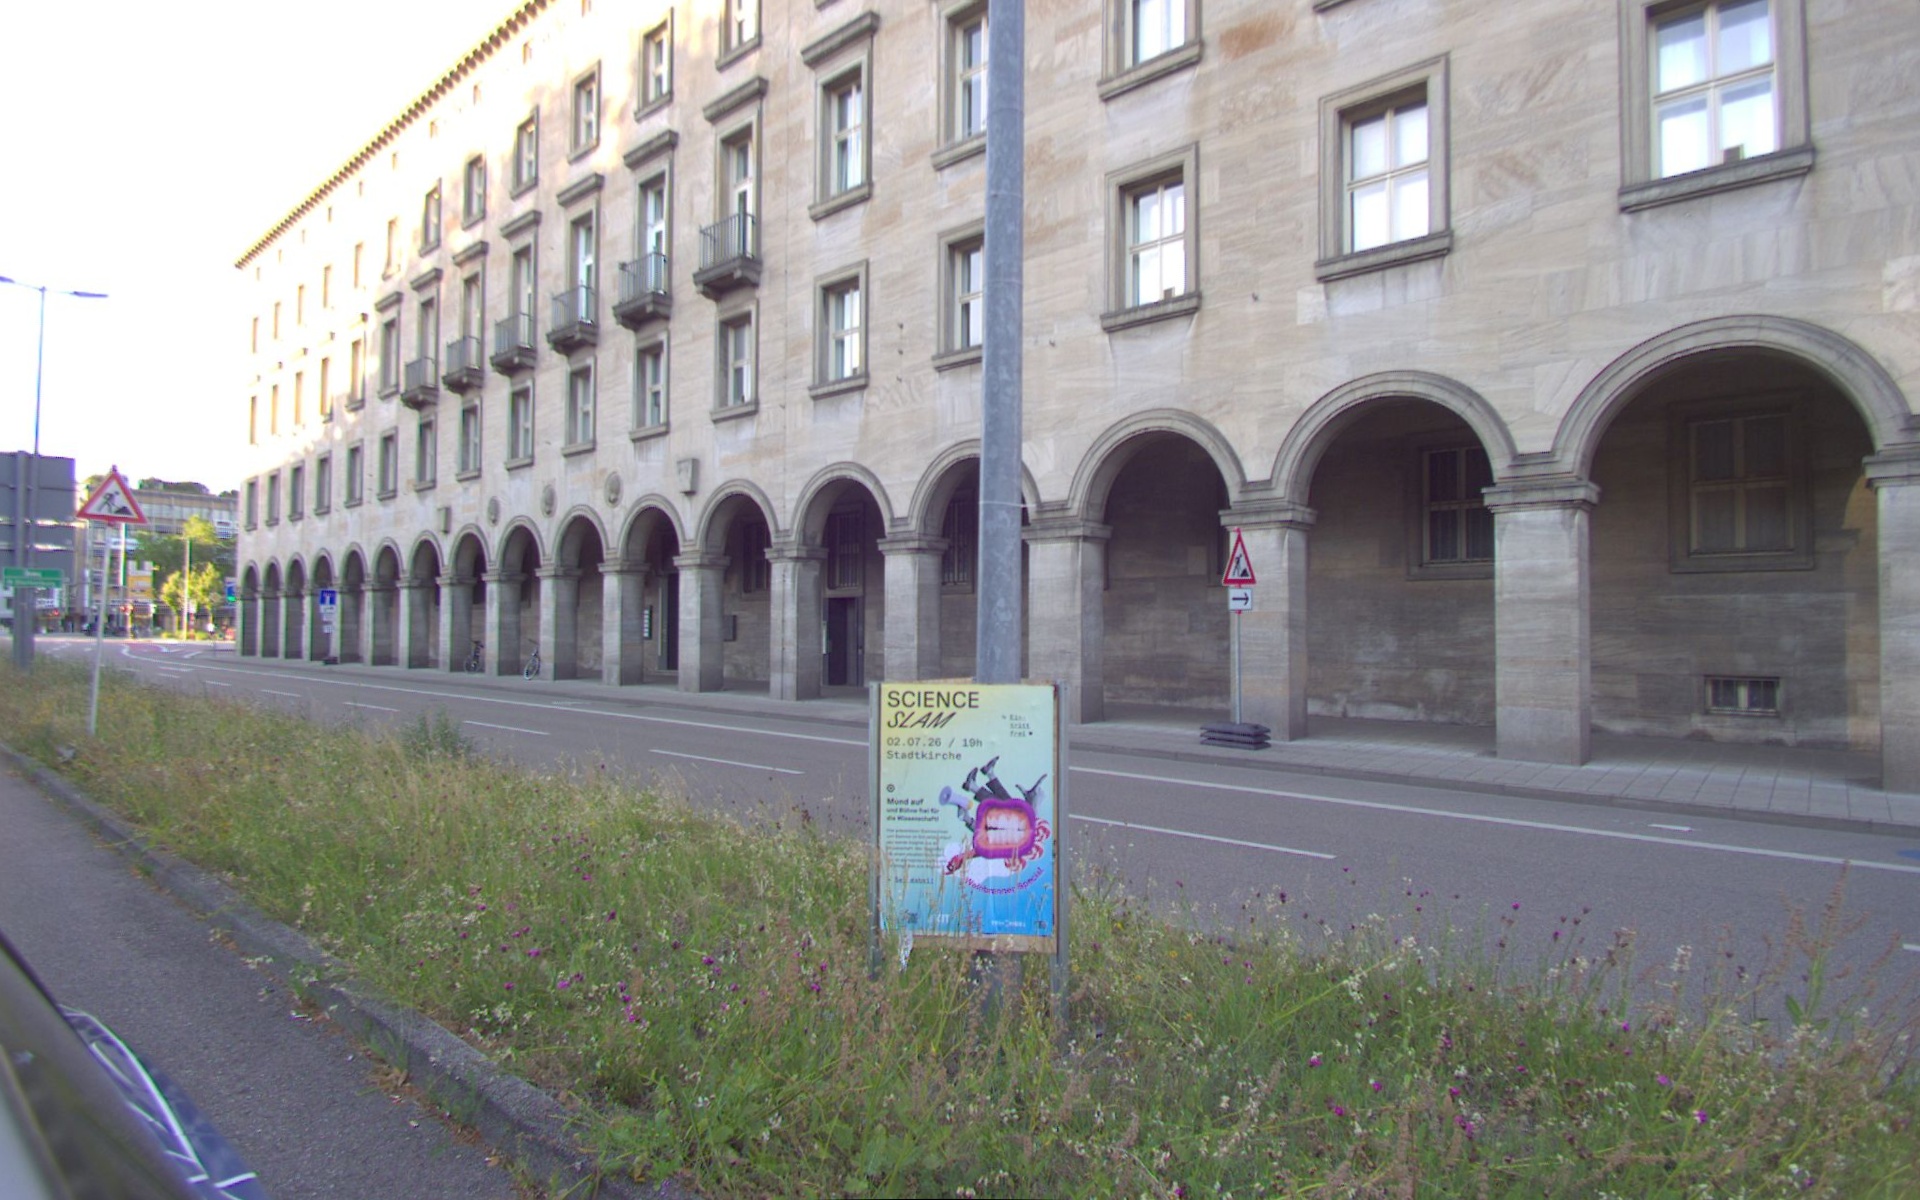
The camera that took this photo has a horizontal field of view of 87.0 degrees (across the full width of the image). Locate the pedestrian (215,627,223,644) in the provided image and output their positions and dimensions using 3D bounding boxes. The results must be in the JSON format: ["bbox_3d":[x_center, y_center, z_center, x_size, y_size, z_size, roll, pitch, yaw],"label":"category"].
[{"bbox_3d":[-66.152,3.167,90.355,0.389,1.553,0.519,-2,-3,41],"label":"pedestrian"}]

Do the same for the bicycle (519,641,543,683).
[{"bbox_3d":[-12.743,1.820,30.098,0.505,1.130,2.431,1,-1,-20],"label":"bicycle"}]

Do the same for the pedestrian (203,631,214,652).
[{"bbox_3d":[-66.793,3.685,89.926,0.506,1.771,0.630,-2,-3,41],"label":"pedestrian"}]

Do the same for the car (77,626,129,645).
[{"bbox_3d":[-92.303,3.797,108.986,1.998,2.029,3.947,-1,-3,40],"label":"car"}]

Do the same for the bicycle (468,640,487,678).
[{"bbox_3d":[-15.768,1.920,33.079,0.505,1.188,2.431,1,-2,-25],"label":"bicycle"}]
